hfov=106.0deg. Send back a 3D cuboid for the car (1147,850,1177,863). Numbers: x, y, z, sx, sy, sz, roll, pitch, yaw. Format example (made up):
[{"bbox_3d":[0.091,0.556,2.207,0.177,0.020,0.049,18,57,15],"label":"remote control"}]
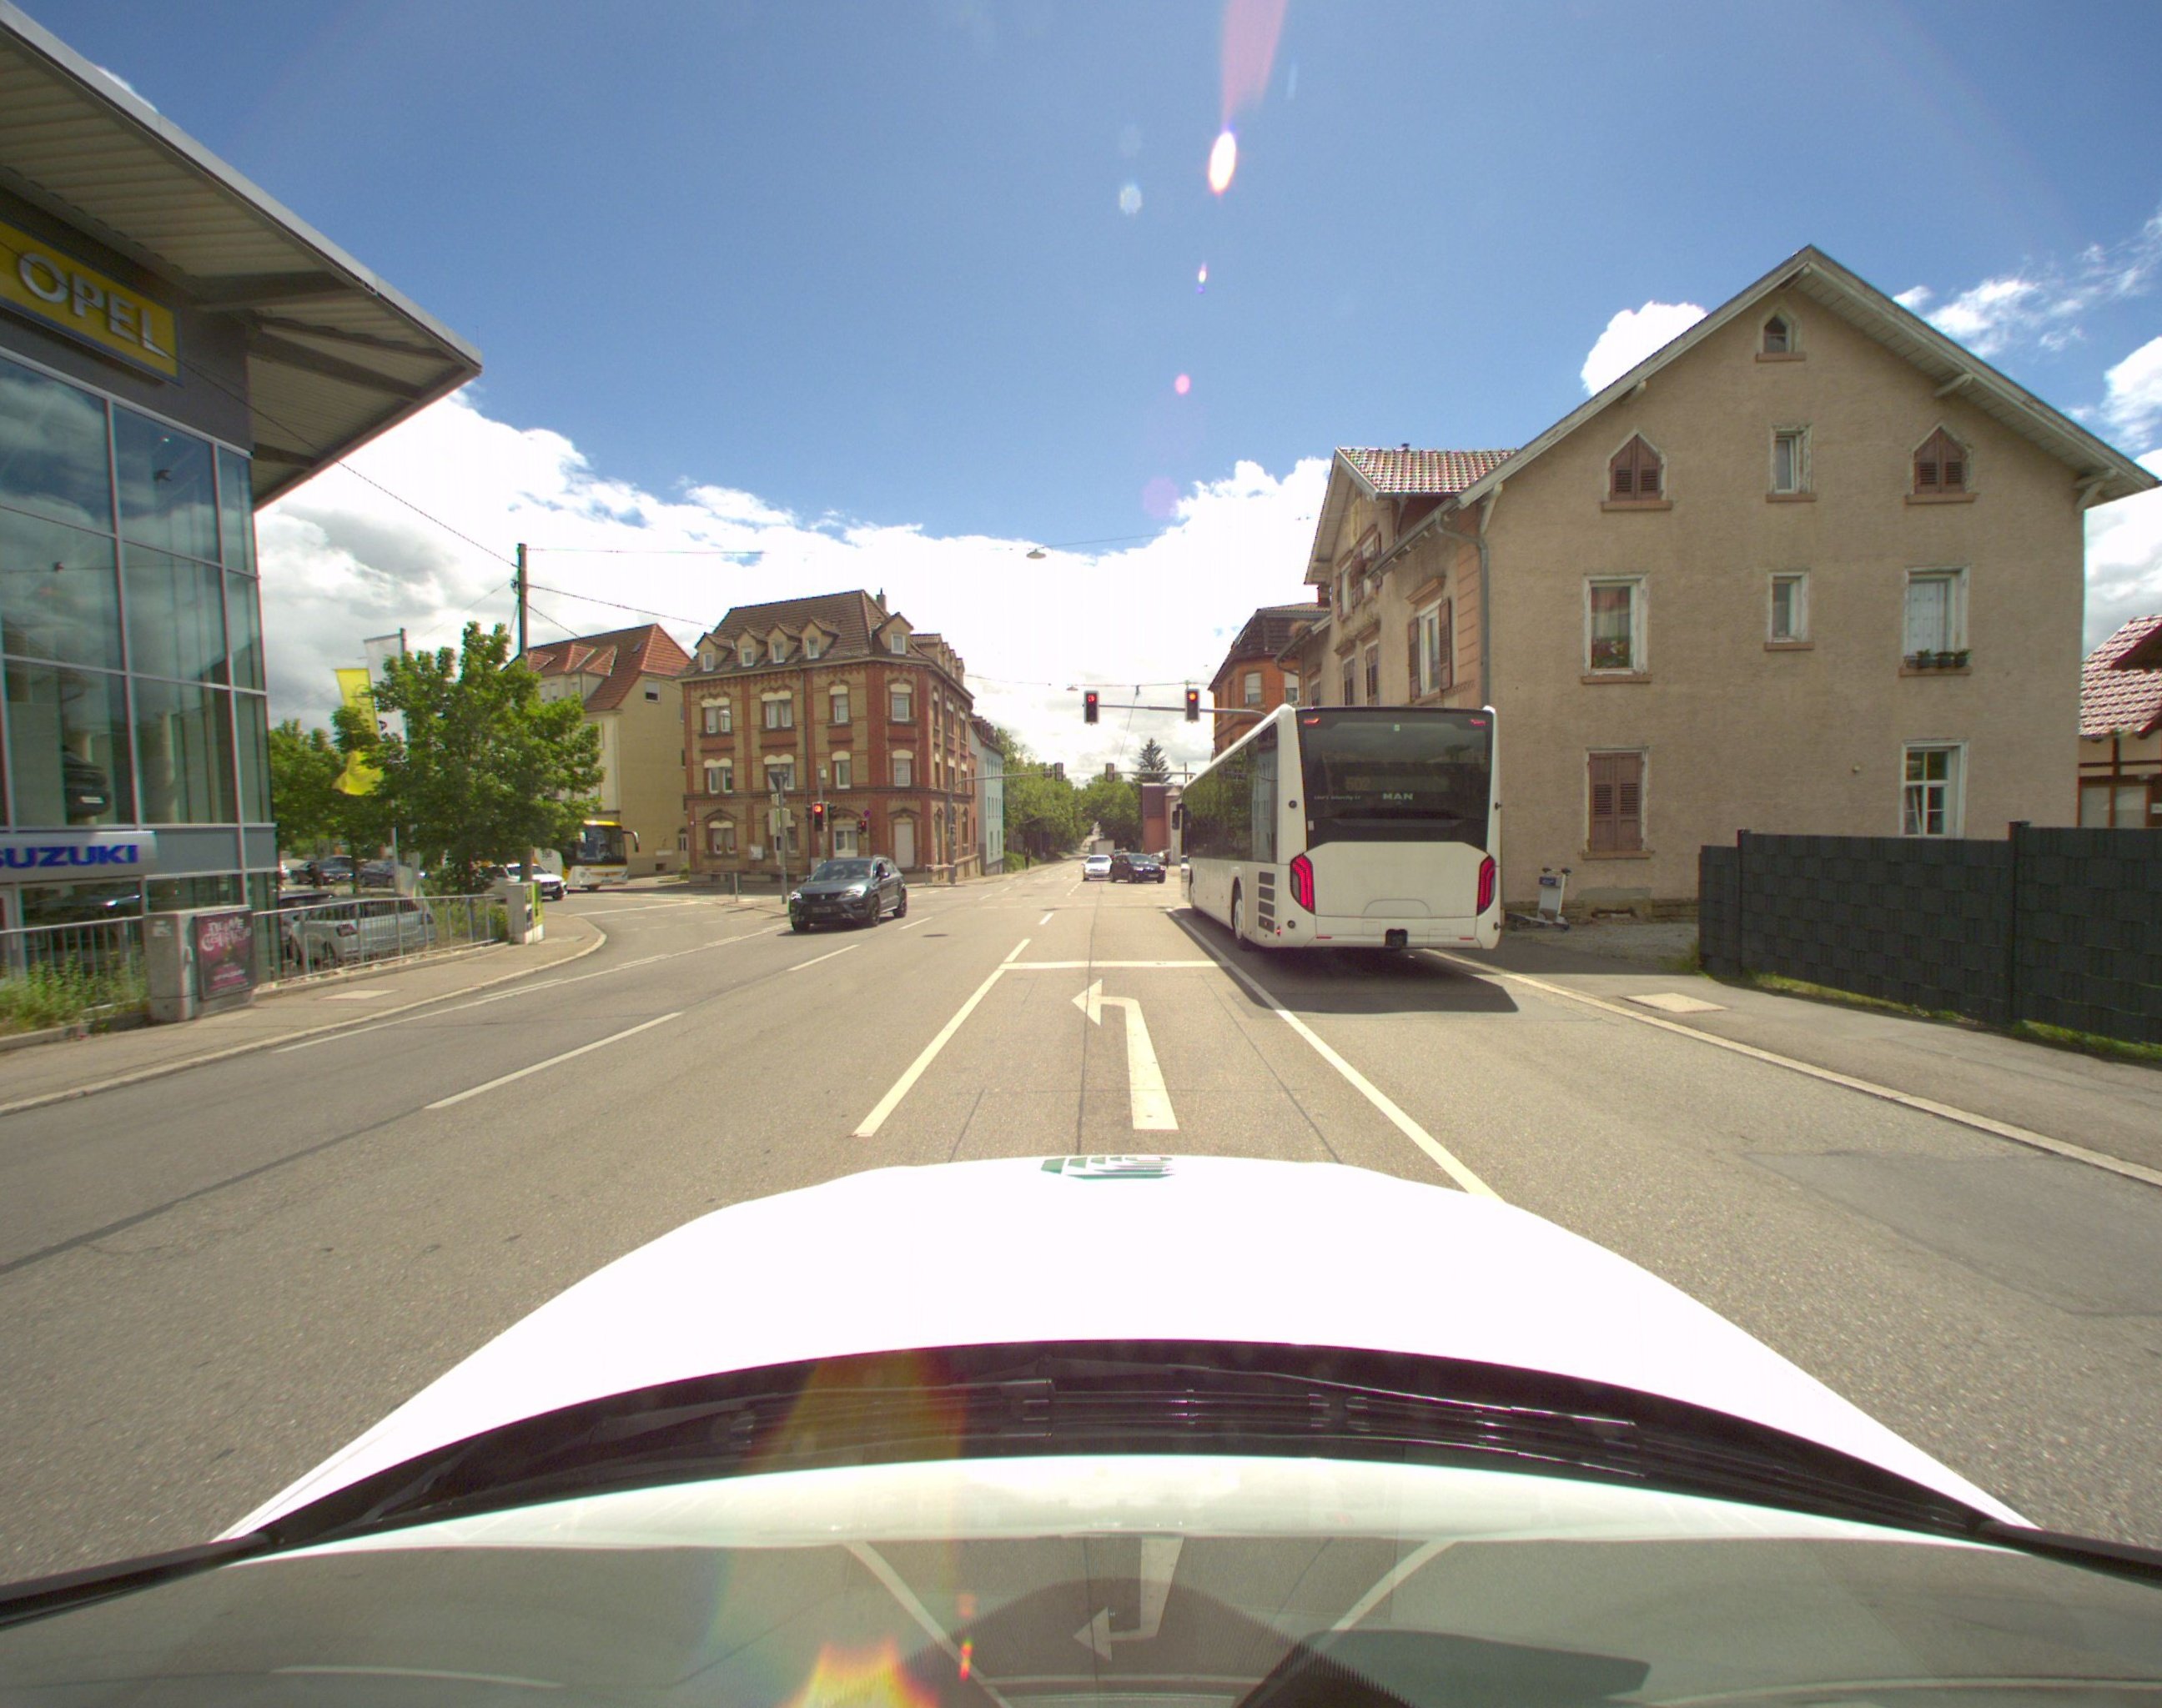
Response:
[{"bbox_3d":[11.804,0.297,119.021,3.978,1.757,1.998,-2,0,-3],"label":"car"}]

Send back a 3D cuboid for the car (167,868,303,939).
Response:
[{"bbox_3d":[-22.856,1.263,21.989,3.455,1.680,1.663,-1,2,29],"label":"car"}]

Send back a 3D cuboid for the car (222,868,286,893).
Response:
[{"bbox_3d":[-53.605,1.723,52.783,3.949,1.553,1.923,-2,0,29],"label":"car"}]

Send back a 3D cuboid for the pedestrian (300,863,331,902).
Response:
[{"bbox_3d":[-34.401,1.274,36.600,1.129,1.734,0.764,-2,0,34],"label":"pedestrian"}]

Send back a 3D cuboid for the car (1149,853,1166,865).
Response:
[{"bbox_3d":[9.282,0.581,98.962,1.788,1.409,4.000,-2,1,1],"label":"car"}]

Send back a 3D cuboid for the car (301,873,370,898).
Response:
[{"bbox_3d":[-45.668,1.924,49.905,3.949,1.409,1.923,-2,0,29],"label":"car"}]

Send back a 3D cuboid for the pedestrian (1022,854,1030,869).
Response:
[{"bbox_3d":[-5.897,0.826,87.352,0.727,1.565,0.561,-1,0,0],"label":"pedestrian"}]

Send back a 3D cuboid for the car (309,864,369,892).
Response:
[{"bbox_3d":[-49.208,1.596,54.019,3.948,1.750,1.837,-2,0,31],"label":"car"}]

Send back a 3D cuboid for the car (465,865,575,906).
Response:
[{"bbox_3d":[-23.344,1.308,33.866,4.253,1.552,1.844,-2,0,25],"label":"car"}]

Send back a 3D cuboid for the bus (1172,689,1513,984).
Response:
[{"bbox_3d":[3.576,-0.232,15.218,2.662,3.155,12.467,-2,0,2],"label":"bus"}]

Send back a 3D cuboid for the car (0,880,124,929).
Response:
[{"bbox_3d":[-37.025,1.782,28.634,1.785,1.553,4.023,-2,0,25],"label":"car"}]

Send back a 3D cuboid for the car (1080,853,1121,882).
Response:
[{"bbox_3d":[1.151,0.702,45.112,1.688,1.427,4.010,-2,0,9],"label":"car"}]

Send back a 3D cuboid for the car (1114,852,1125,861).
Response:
[{"bbox_3d":[6.424,0.377,135.542,1.787,1.409,4.002,-1,0,2],"label":"car"}]

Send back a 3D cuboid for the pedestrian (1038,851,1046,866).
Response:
[{"bbox_3d":[-5.440,0.660,113.865,0.991,2.013,1.189,-2,0,1],"label":"pedestrian"}]

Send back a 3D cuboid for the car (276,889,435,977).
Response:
[{"bbox_3d":[-15.916,1.647,17.847,3.321,1.560,1.693,0,2,32],"label":"car"}]

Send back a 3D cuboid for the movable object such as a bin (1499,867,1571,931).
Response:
[{"bbox_3d":[7.647,0.742,13.750,0.773,1.012,0.749,-2,0,1],"label":"movable object such as a bin"}]

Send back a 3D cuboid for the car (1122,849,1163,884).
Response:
[{"bbox_3d":[2.939,0.578,39.314,1.752,1.516,3.795,-2,1,2],"label":"car"}]

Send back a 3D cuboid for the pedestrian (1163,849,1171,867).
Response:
[{"bbox_3d":[8.713,0.429,82.529,0.736,1.750,0.619,-2,0,1],"label":"pedestrian"}]

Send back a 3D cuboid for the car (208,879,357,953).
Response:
[{"bbox_3d":[-19.527,1.449,19.904,3.455,1.526,1.626,-1,2,29],"label":"car"}]

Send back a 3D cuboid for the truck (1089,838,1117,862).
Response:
[{"bbox_3d":[2.935,-0.526,111.443,2.921,3.081,7.873,-2,0,-5],"label":"truck"}]

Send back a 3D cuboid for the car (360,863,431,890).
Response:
[{"bbox_3d":[-39.359,1.304,46.760,3.949,1.409,1.762,-2,0,28],"label":"car"}]

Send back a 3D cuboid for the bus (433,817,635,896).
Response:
[{"bbox_3d":[-27.914,0.043,41.307,12.111,3.621,2.788,0,1,26],"label":"bus"}]

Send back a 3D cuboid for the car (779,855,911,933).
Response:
[{"bbox_3d":[-5.345,0.845,19.013,1.752,1.522,3.960,-2,0,2],"label":"car"}]
